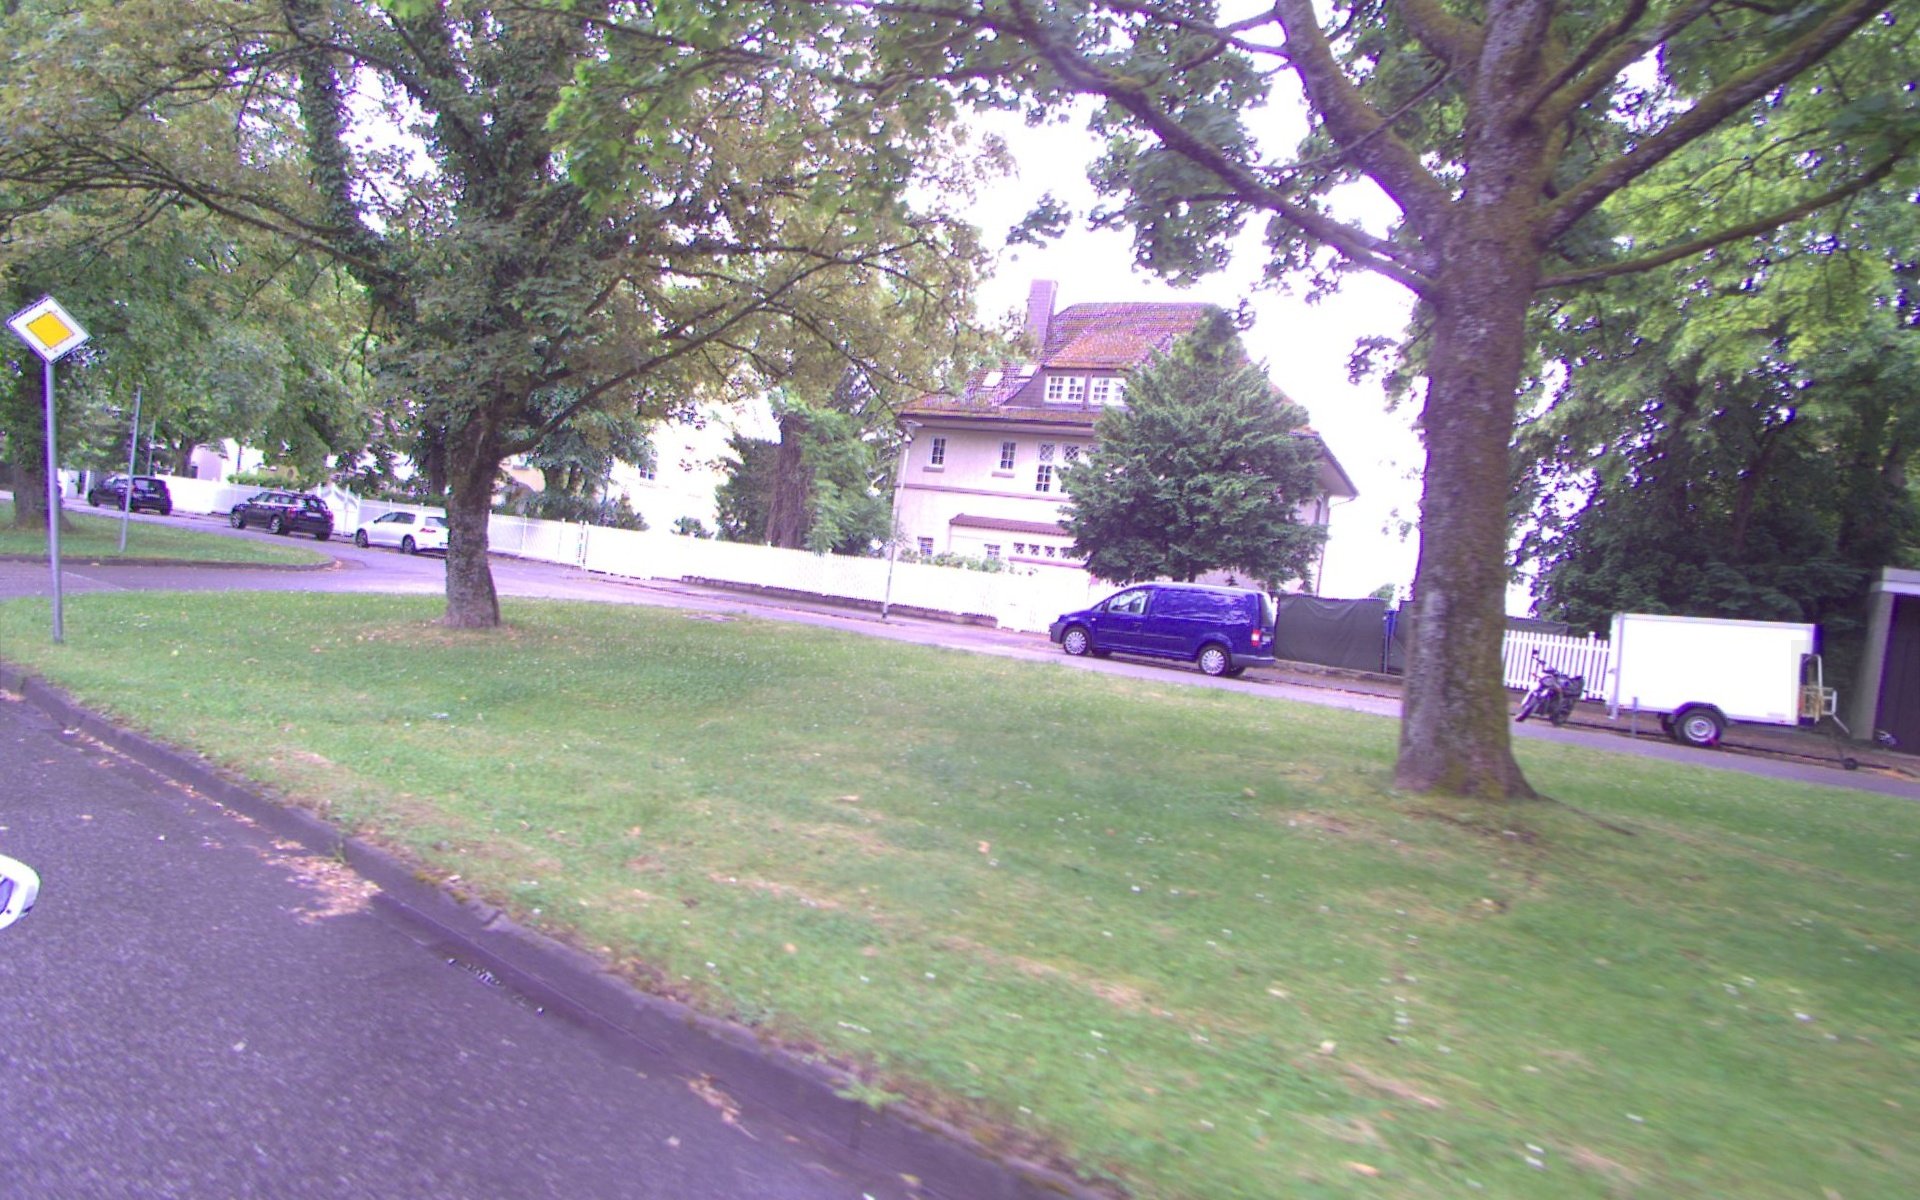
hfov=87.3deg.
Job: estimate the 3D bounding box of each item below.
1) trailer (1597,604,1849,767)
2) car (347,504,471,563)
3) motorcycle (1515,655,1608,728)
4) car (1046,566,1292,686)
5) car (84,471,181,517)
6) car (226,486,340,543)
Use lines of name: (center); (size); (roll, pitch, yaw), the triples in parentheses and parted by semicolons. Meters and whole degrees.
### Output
trailer: (12.482, 1.343, 16.679); (2.898, 2.182, 1.438); (7, 2, 27)
car: (-18.359, -2.217, 33.490); (3.939, 1.428, 1.618); (8, 2, 27)
motorcycle: (10.523, 1.614, 17.576); (1.876, 1.106, 0.651); (7, 2, -39)
car: (4.382, 0.494, 21.295); (4.569, 1.833, 1.943); (8, 3, 29)
car: (-35.205, -4.515, 42.766); (4.042, 1.430, 1.803); (8, 2, 29)
car: (-24.844, -3.137, 36.895); (4.042, 1.550, 1.803); (8, 2, 29)
